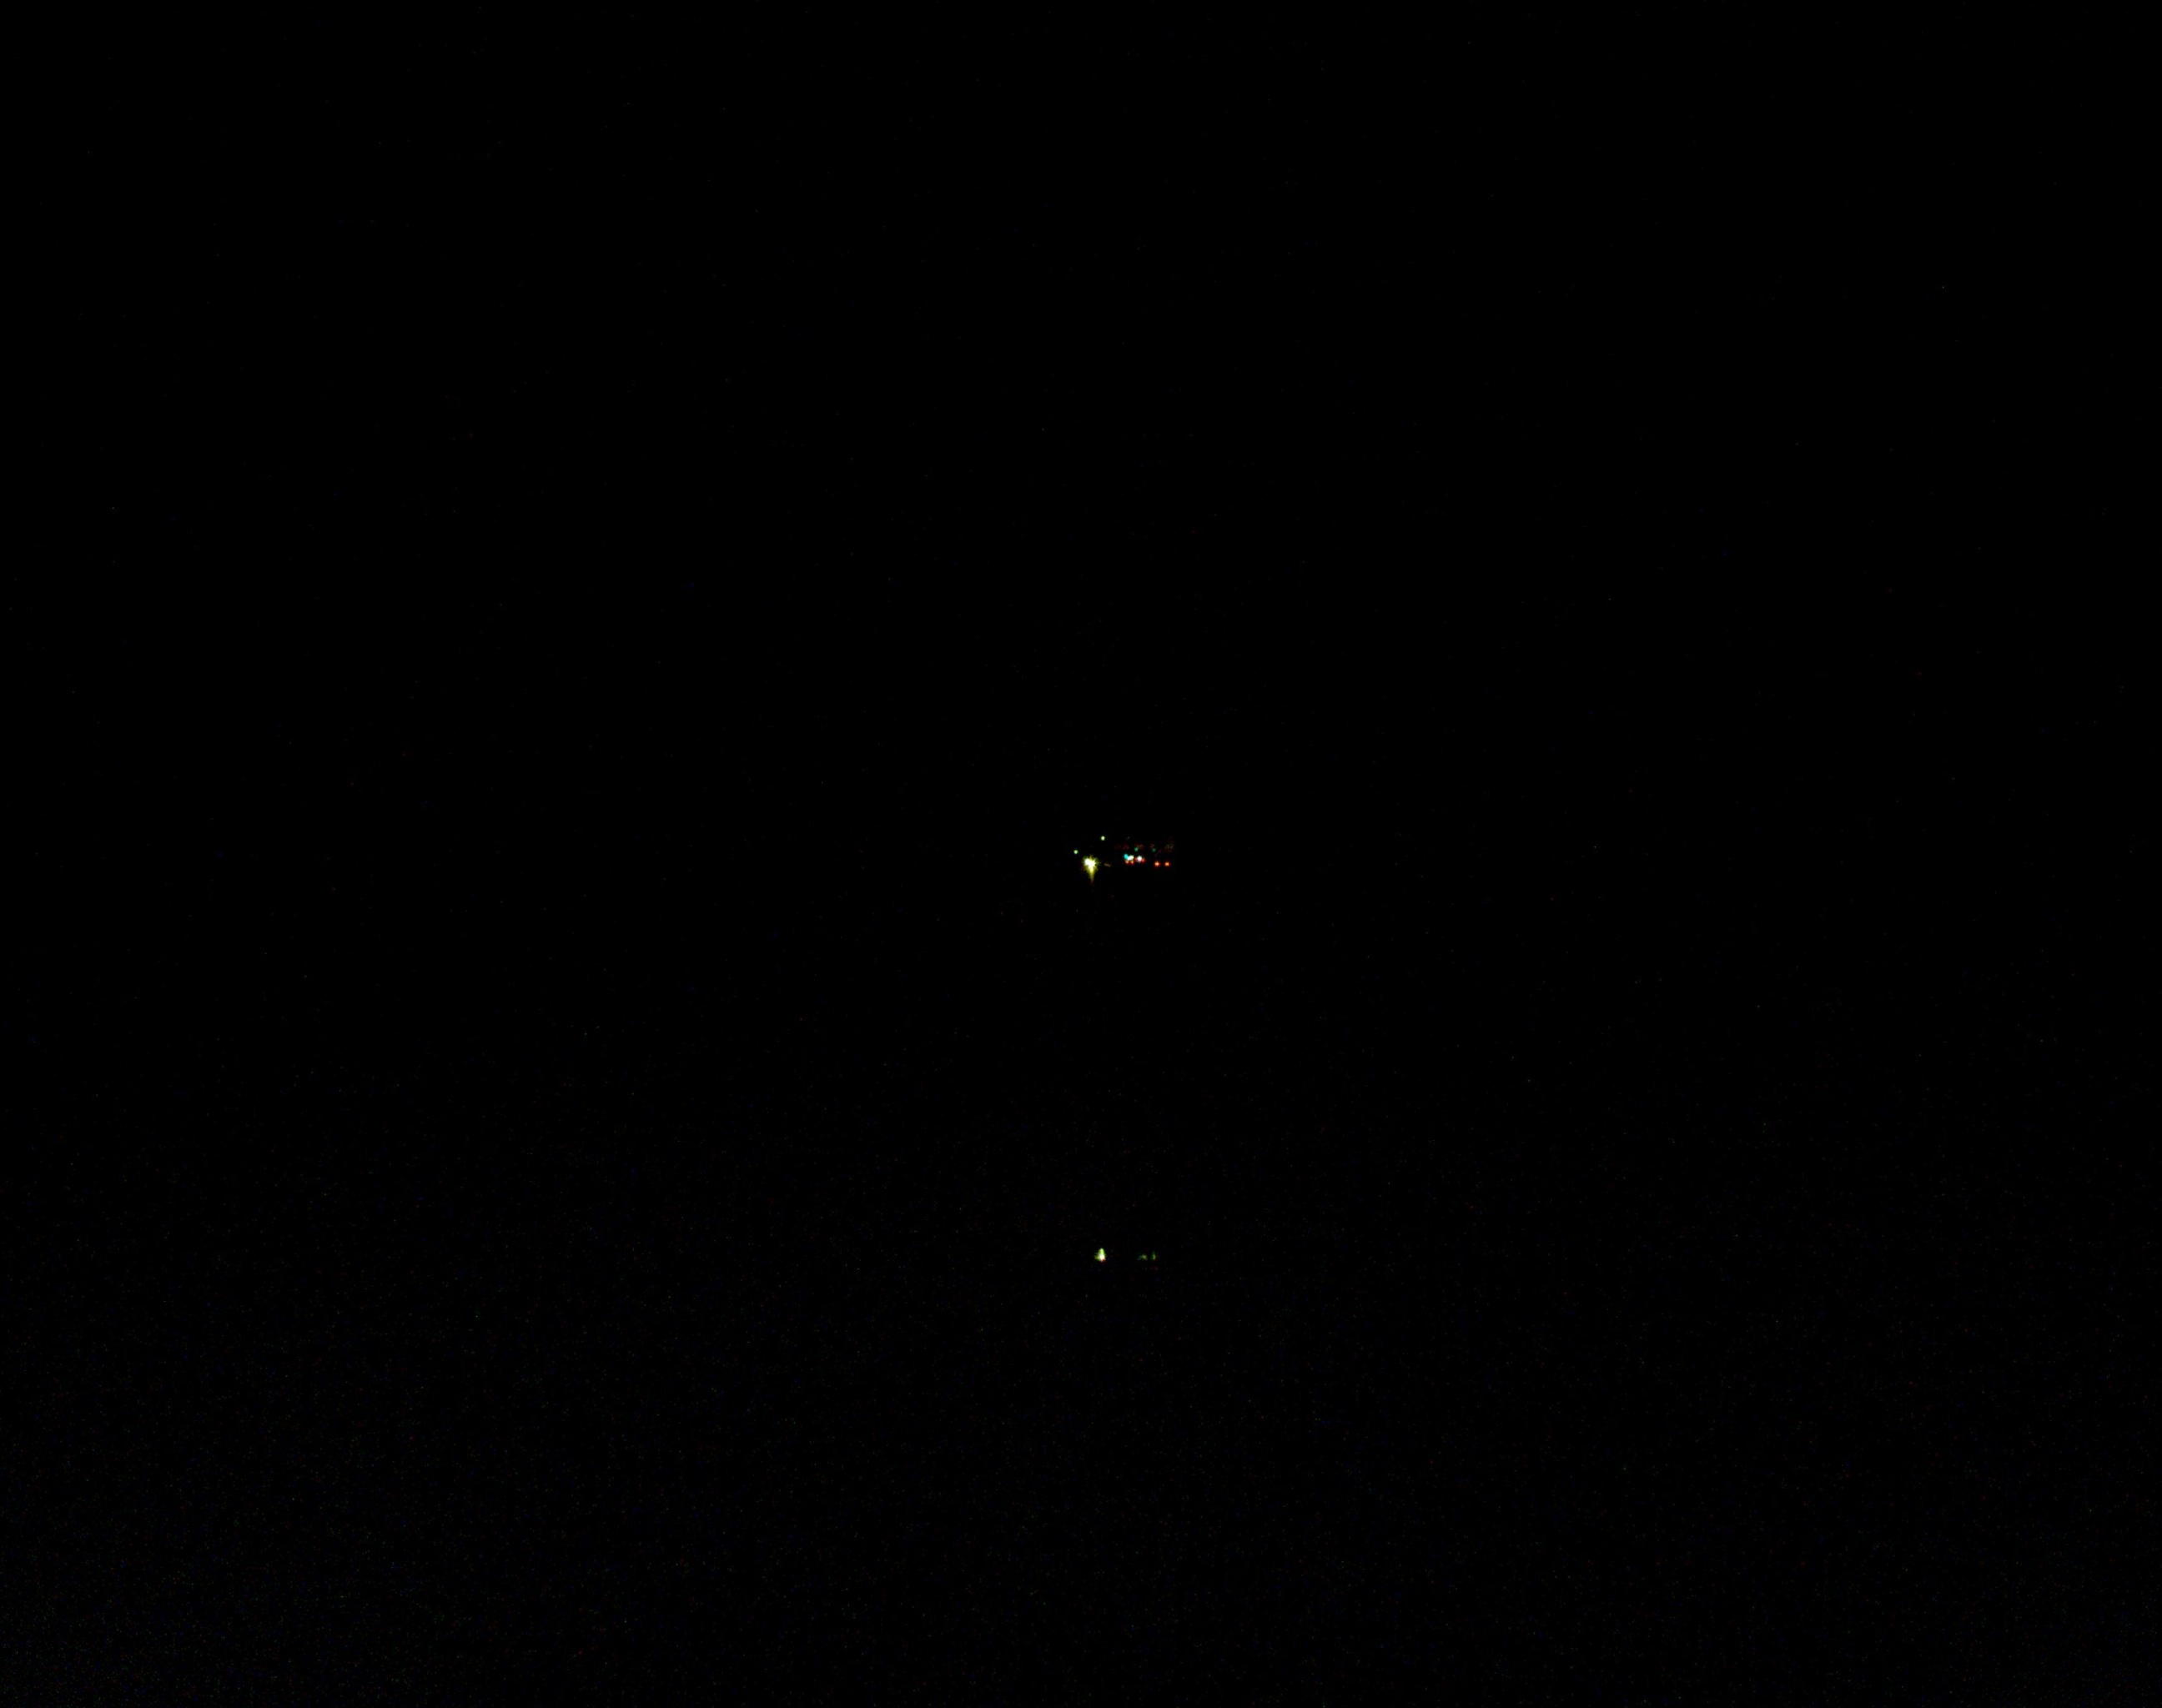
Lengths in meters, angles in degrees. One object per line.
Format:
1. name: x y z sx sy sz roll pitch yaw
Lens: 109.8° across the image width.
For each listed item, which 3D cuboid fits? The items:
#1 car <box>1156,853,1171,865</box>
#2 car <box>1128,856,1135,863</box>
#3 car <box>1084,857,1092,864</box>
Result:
1. car: 11.325 0.643 104.451 1.621 1.498 3.868 -2 1 1
2. car: 13.266 1.418 200.582 1.687 1.578 4.166 -2 0 1
3. car: 1.343 1.200 151.054 1.570 1.336 4.166 -2 0 1
